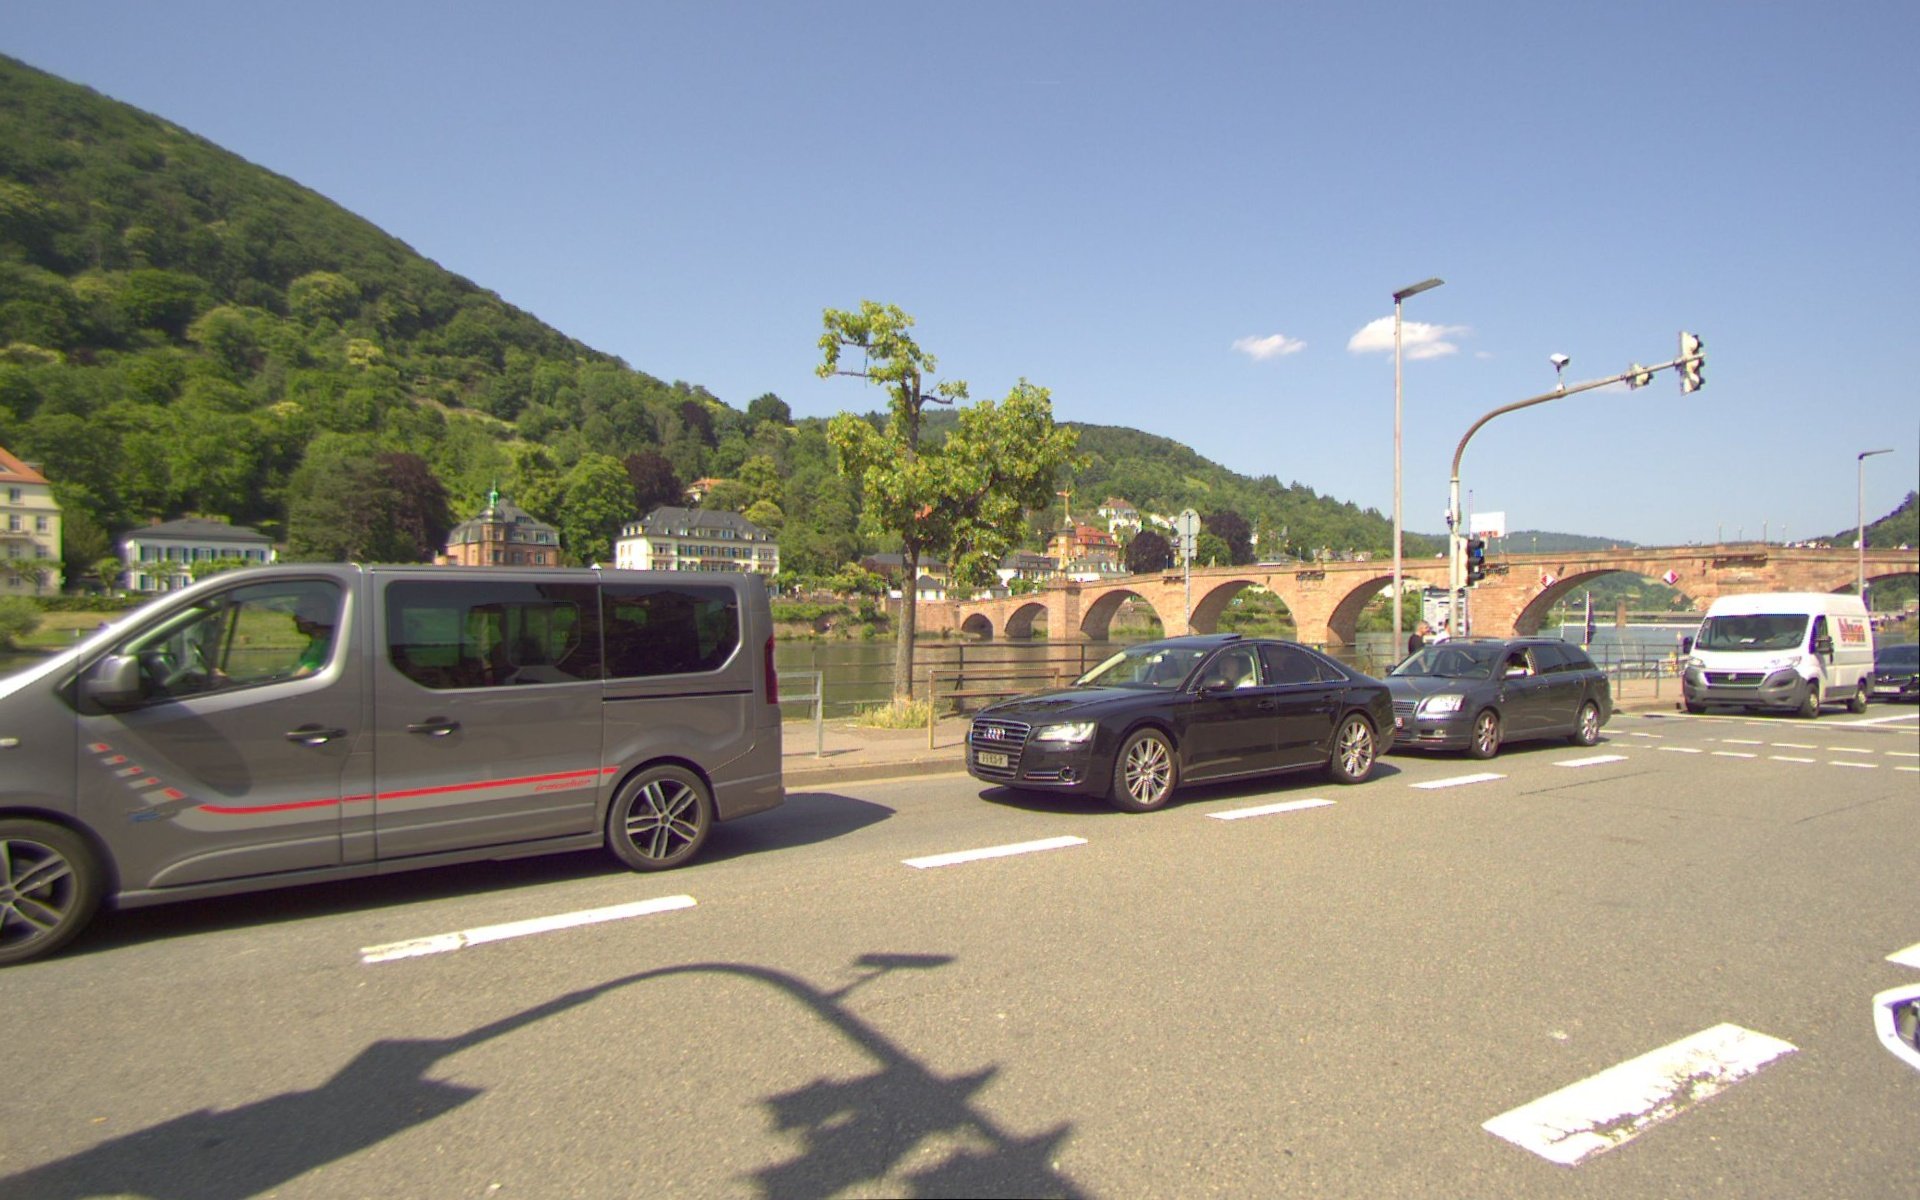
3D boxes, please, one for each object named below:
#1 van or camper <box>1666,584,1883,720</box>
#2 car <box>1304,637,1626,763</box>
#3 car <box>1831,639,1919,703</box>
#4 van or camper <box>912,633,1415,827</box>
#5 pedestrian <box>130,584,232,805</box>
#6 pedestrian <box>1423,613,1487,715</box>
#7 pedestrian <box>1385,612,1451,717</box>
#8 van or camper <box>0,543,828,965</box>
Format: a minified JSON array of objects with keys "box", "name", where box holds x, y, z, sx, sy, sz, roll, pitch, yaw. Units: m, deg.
[{"box":[16.843,1.065,20.687,5.439,2.481,1.981,2,-3,-35],"name":"van or camper"},{"box":[6.994,1.271,13.780,4.522,1.427,1.941,1,-4,-34],"name":"car"},{"box":[24.013,1.727,25.369,4.877,1.474,1.808,1,-3,-34],"name":"car"},{"box":[2.163,1.094,10.006,5.012,1.496,1.982,1,-3,-34],"name":"van or camper"},{"box":[-7.054,0.806,9.093,0.690,1.883,0.755,0,2,-41],"name":"pedestrian"},{"box":[9.250,1.167,18.769,0.758,1.804,0.687,0,5,-41],"name":"pedestrian"},{"box":[8.277,1.140,18.156,0.758,1.804,0.687,0,5,-41],"name":"pedestrian"},{"box":[-3.564,0.744,6.299,5.129,1.898,1.980,1,-2,-36],"name":"van or camper"}]
